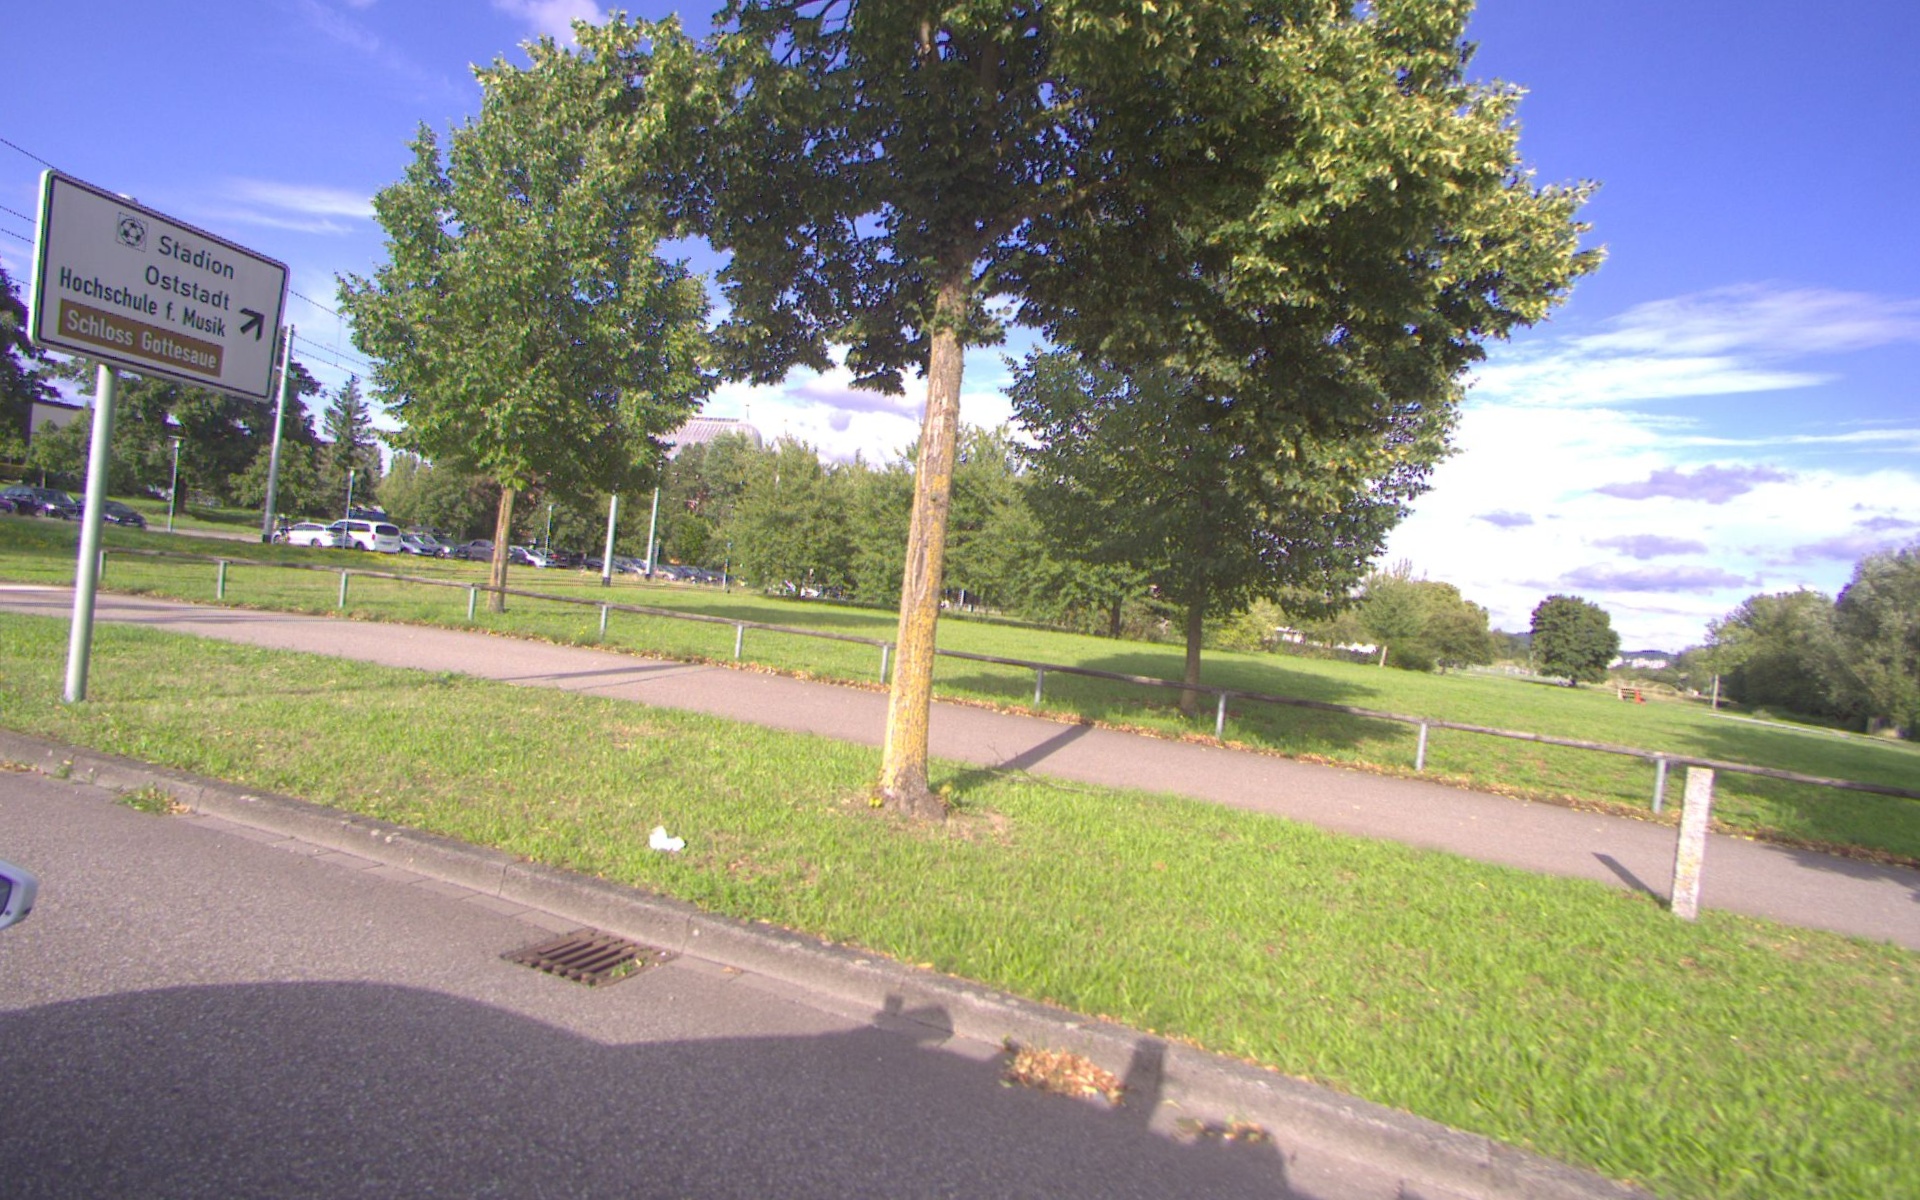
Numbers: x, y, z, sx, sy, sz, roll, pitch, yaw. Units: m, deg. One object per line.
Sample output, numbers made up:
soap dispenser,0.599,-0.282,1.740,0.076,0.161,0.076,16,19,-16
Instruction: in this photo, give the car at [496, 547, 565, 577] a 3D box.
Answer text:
car,-29.419,-2.589,68.841,4.391,1.523,1.858,7,1,27

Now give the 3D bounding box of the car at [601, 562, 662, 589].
car,-25.638,-1.911,78.510,4.391,1.560,1.857,7,1,27

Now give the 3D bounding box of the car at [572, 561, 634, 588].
car,-27.059,-1.958,76.288,4.391,1.535,1.800,7,1,27

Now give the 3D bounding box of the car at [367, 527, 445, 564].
car,-33.215,-3.247,60.290,4.395,1.695,2.098,7,1,32

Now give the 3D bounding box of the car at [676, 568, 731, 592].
car,-22.243,-1.758,87.227,4.391,1.560,1.857,7,1,27

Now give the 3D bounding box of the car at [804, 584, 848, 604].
car,-14.249,-0.638,106.563,4.398,1.560,1.854,7,1,34

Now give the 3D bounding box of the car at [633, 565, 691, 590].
car,-24.371,-1.848,82.231,4.391,1.472,1.857,7,1,27

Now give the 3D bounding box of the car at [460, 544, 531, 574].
car,-30.683,-2.705,66.408,4.391,1.416,1.858,7,1,27

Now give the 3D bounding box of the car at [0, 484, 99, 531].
car,-39.770,-4.055,43.534,4.855,1.535,1.859,7,1,24

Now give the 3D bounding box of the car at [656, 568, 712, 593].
car,-23.214,-1.664,84.605,4.391,1.560,1.857,7,1,27

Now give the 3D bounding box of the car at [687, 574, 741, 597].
car,-21.926,-1.315,89.596,4.391,1.560,1.857,7,1,27

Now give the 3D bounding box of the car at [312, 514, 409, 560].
car,-34.210,-3.610,57.369,5.023,2.033,2.314,7,1,27

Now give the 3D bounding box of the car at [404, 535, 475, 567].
car,-32.233,-3.042,62.272,4.044,1.534,2.032,7,1,32

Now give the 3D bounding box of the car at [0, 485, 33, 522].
car,-40.754,-4.193,41.631,4.388,1.380,1.859,7,1,24

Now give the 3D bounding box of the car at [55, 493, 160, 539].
car,-38.997,-3.844,46.031,4.388,1.535,1.859,7,1,24

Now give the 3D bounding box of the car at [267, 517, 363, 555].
car,-35.047,-3.479,54.693,4.384,1.535,1.861,7,1,16
